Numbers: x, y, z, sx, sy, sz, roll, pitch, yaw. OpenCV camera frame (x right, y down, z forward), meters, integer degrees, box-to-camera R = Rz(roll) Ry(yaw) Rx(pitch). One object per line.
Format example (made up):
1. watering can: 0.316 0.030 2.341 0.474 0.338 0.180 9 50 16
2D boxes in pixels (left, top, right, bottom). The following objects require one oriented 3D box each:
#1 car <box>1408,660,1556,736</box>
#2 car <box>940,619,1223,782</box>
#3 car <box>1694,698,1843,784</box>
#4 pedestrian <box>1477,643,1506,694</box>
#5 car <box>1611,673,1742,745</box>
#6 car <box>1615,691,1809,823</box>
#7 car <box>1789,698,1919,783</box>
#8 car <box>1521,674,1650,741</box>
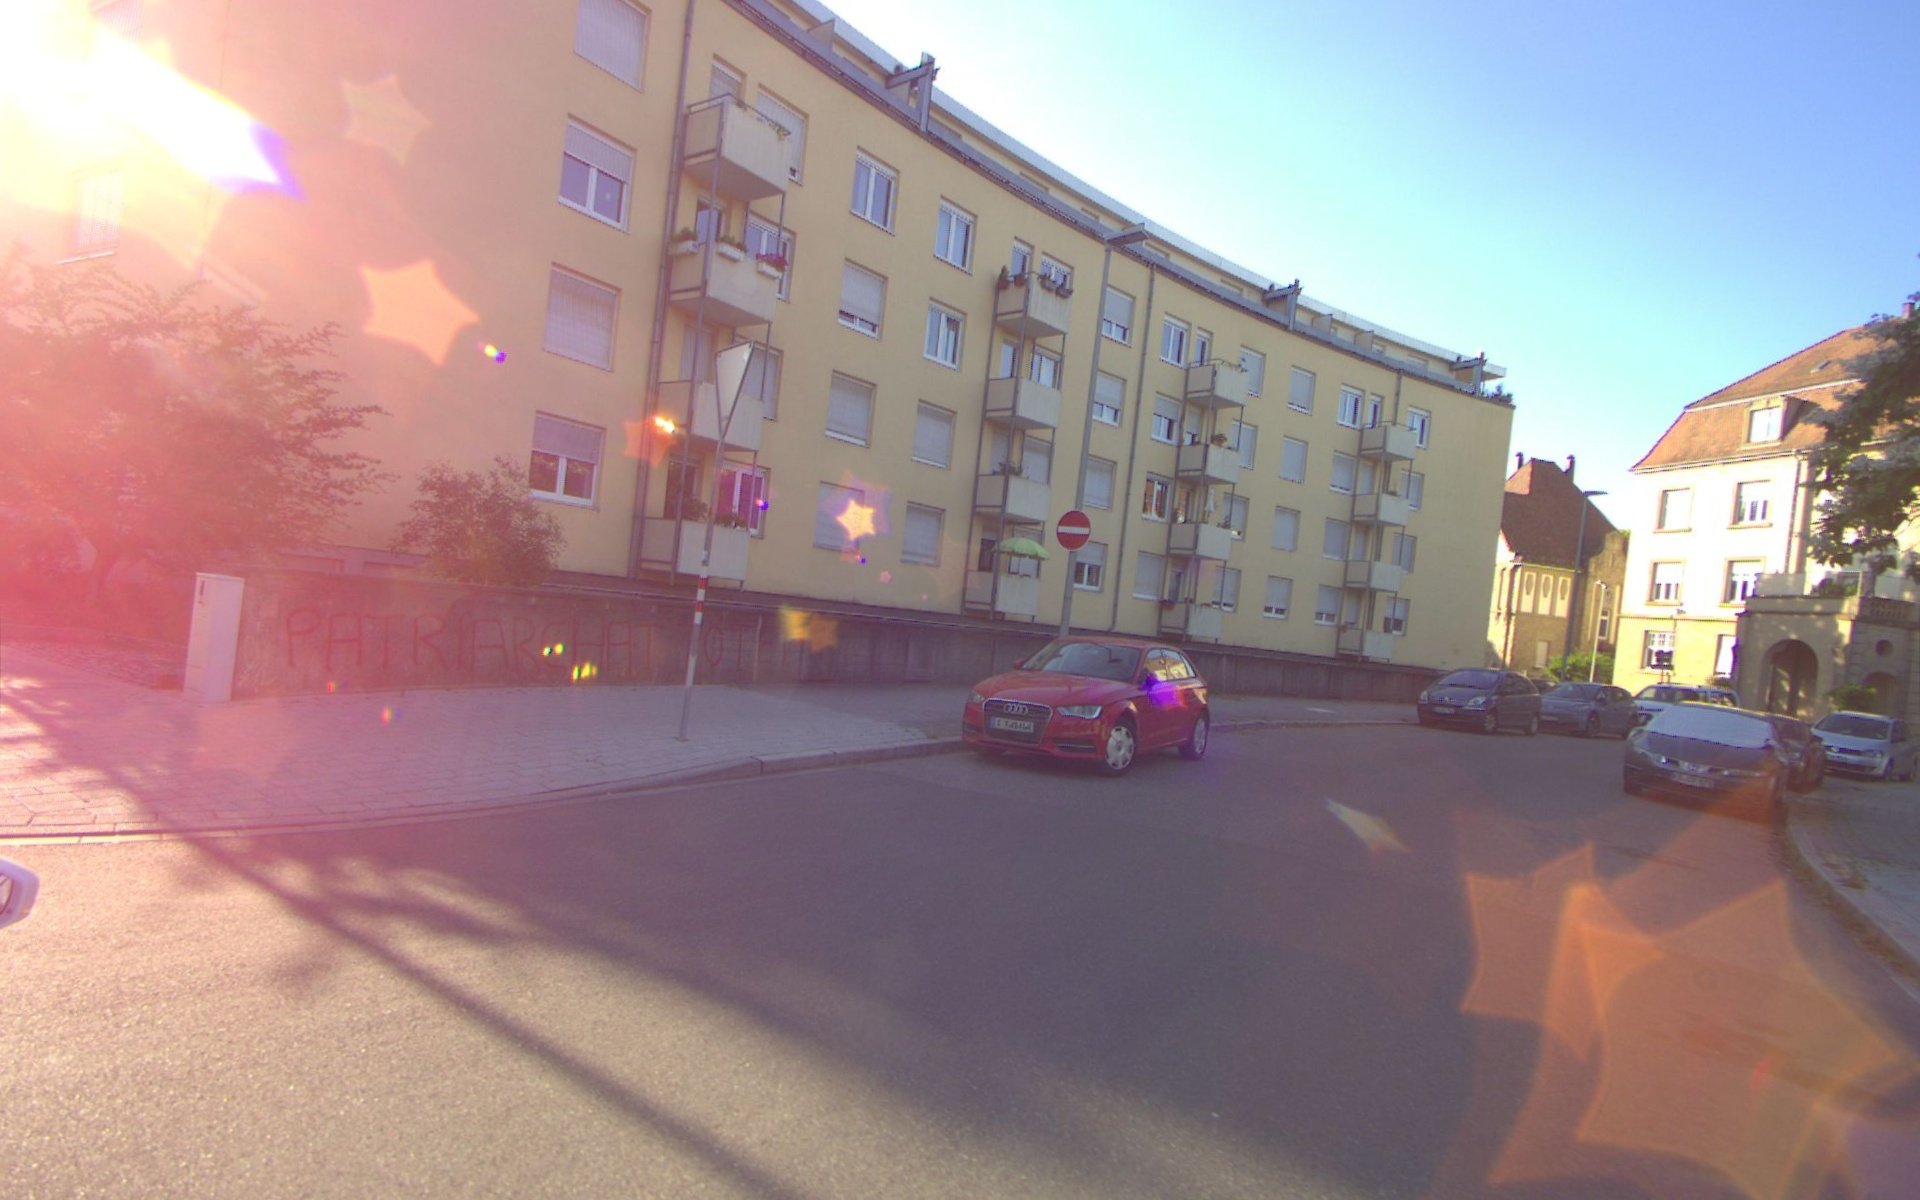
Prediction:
1. car: 13.271 2.513 25.494 4.012 1.595 1.691 7 -2 -37
2. car: 1.605 1.134 11.749 1.760 1.436 4.042 4 -3 30
3. car: 16.342 2.841 20.281 3.681 1.312 1.705 9 0 -42
4. pedestrian: 17.538 2.252 33.185 0.521 1.611 0.502 7 -1 -34
5. car: 23.095 3.516 32.416 4.000 1.817 1.695 8 -1 -28
6. car: 11.346 2.306 15.076 1.703 1.444 3.979 8 0 44
7. car: 22.076 3.460 24.663 3.673 1.647 1.709 8 0 -36
8. car: 18.003 3.103 28.900 4.011 1.595 1.691 7 -2 -36
